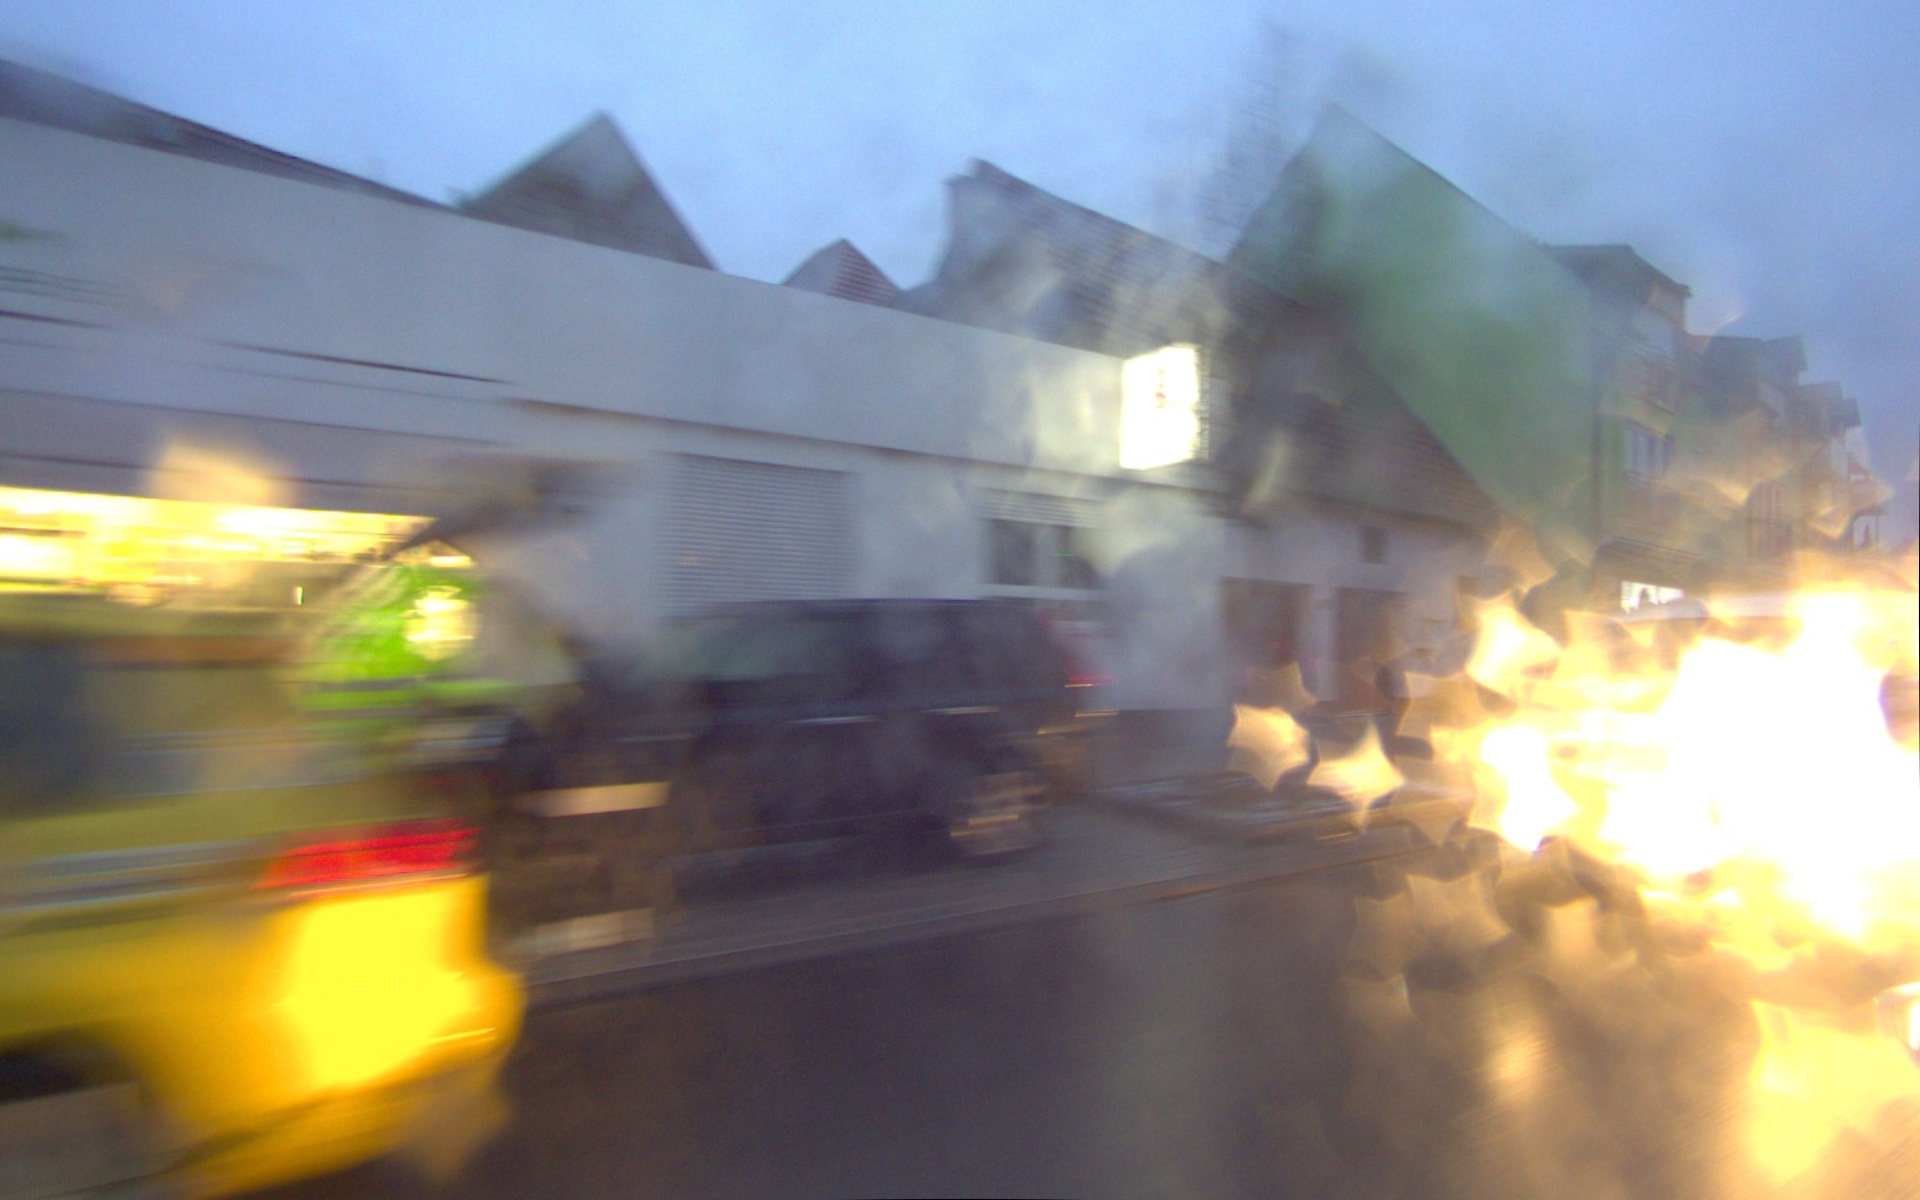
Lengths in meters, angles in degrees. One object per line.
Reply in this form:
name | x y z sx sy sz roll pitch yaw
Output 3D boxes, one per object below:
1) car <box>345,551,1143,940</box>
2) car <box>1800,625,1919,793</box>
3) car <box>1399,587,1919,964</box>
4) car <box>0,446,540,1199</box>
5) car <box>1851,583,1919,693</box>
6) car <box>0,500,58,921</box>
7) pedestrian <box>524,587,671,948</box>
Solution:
car | -1.214 0.711 6.512 4.659 1.733 1.870 2 -1 -32
car | 10.780 1.074 10.641 4.214 1.576 1.846 2 -1 -35
car | 4.984 0.749 6.272 4.365 1.567 1.942 -2 -1 -31
car | -3.598 0.544 1.925 4.912 1.729 1.982 0 2 -33
car | 25.381 1.033 25.858 6.701 2.594 2.466 3 -1 -38
car | -6.286 0.437 3.078 4.974 1.816 2.072 1 -1 -35
pedestrian | -1.754 0.750 4.849 0.570 1.606 0.525 0 -1 -33
